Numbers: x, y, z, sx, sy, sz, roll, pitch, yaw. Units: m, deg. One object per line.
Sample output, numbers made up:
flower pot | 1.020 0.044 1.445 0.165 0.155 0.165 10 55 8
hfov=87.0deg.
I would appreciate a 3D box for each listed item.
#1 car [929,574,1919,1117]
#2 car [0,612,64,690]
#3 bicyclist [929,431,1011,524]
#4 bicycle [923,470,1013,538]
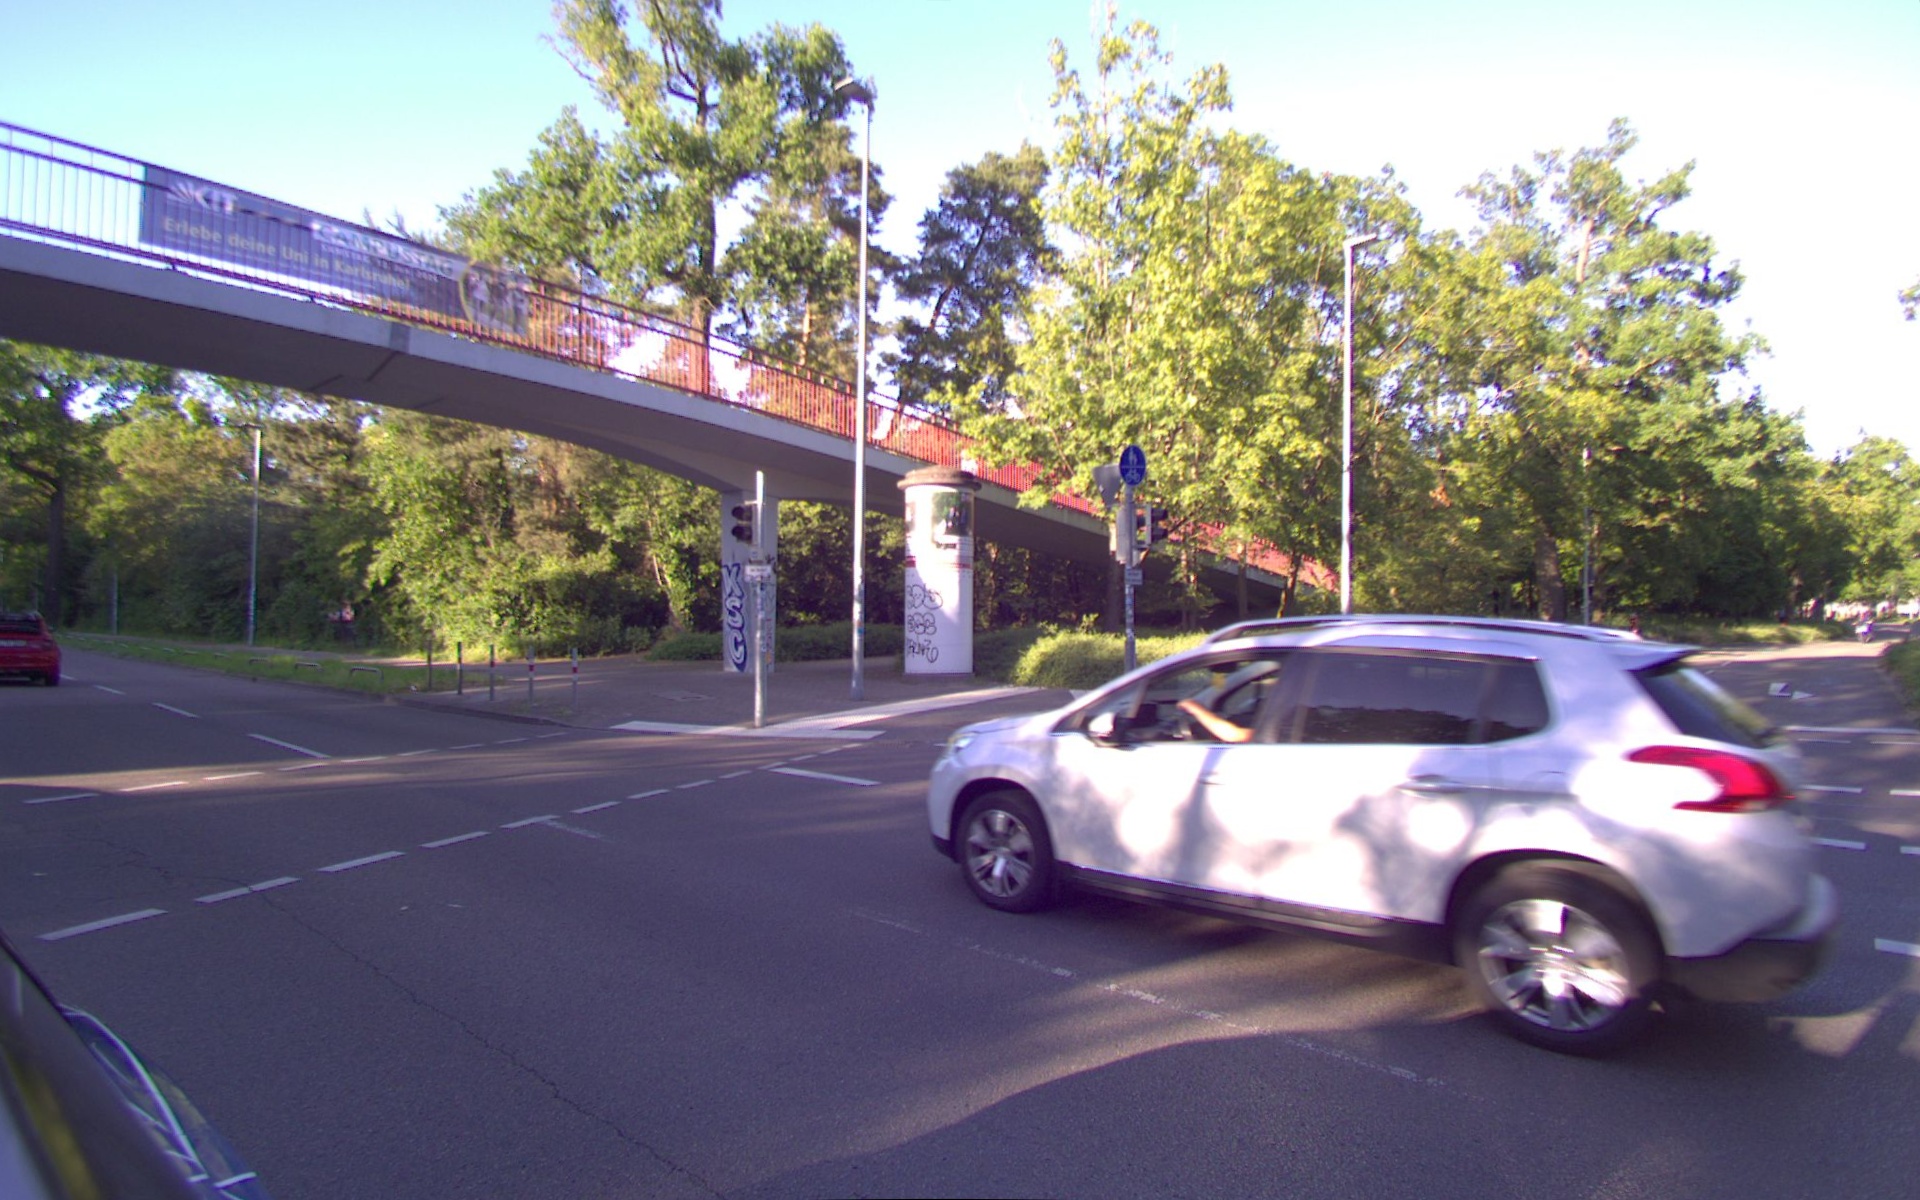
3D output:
car | 1.844 0.752 4.798 3.900 1.535 1.659 -1 -3 42
car | -19.546 0.984 20.421 3.638 1.467 1.732 -1 -3 42
bicyclist | 0.284 -3.360 28.197 1.412 2.185 1.660 0 -6 43
bicycle | 0.238 -2.642 28.344 1.052 1.383 2.413 0 -7 44
